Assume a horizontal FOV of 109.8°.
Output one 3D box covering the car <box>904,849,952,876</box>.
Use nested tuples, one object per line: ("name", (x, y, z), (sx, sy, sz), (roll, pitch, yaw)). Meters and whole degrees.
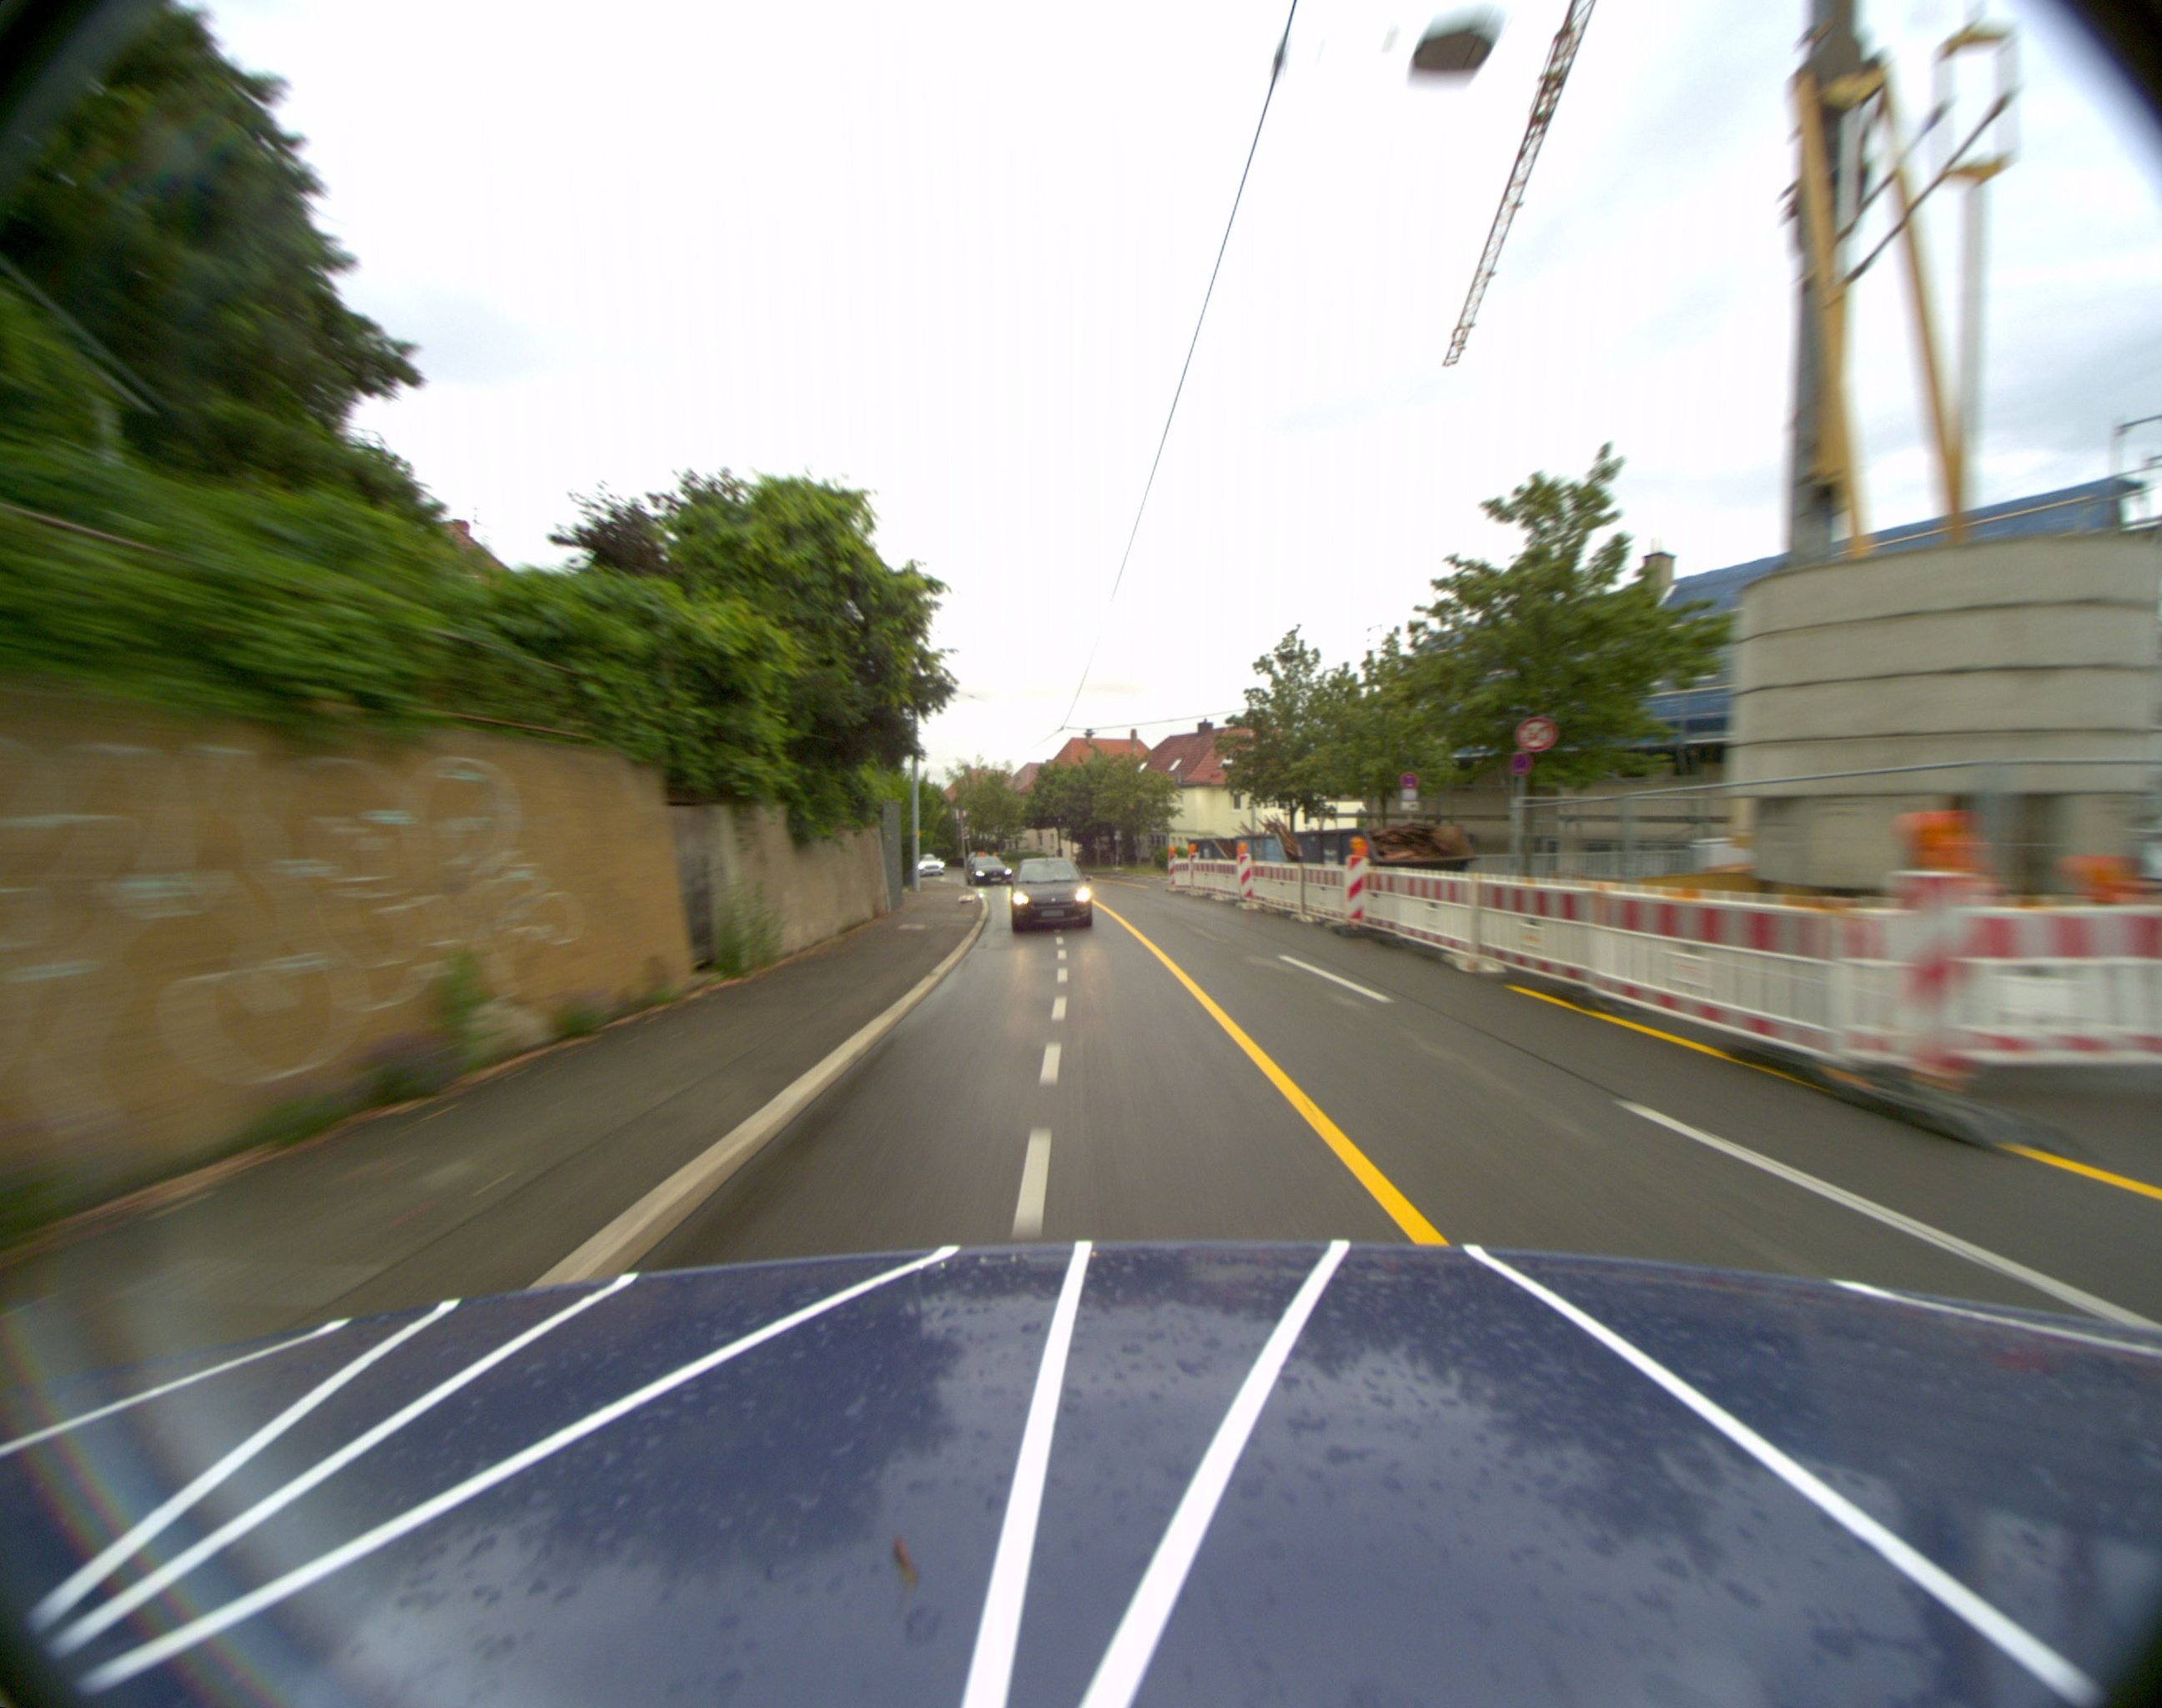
("car", (-11.644, 0.614, 57.620), (2.022, 1.729, 4.587), (-7, 4, -31))

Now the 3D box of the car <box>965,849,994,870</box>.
("car", (-7.911, 0.451, 59.199), (1.462, 1.517, 2.917), (-4, 1, -23))

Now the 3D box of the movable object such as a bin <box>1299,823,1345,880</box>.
("movable object such as a bin", (10.815, -0.115, 34.158), (1.318, 2.491, 1.383), (-2, 1, -24))

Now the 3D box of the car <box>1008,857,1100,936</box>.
("car", (-0.730, 0.834, 17.083), (1.747, 1.434, 4.357), (-3, 0, -5))
